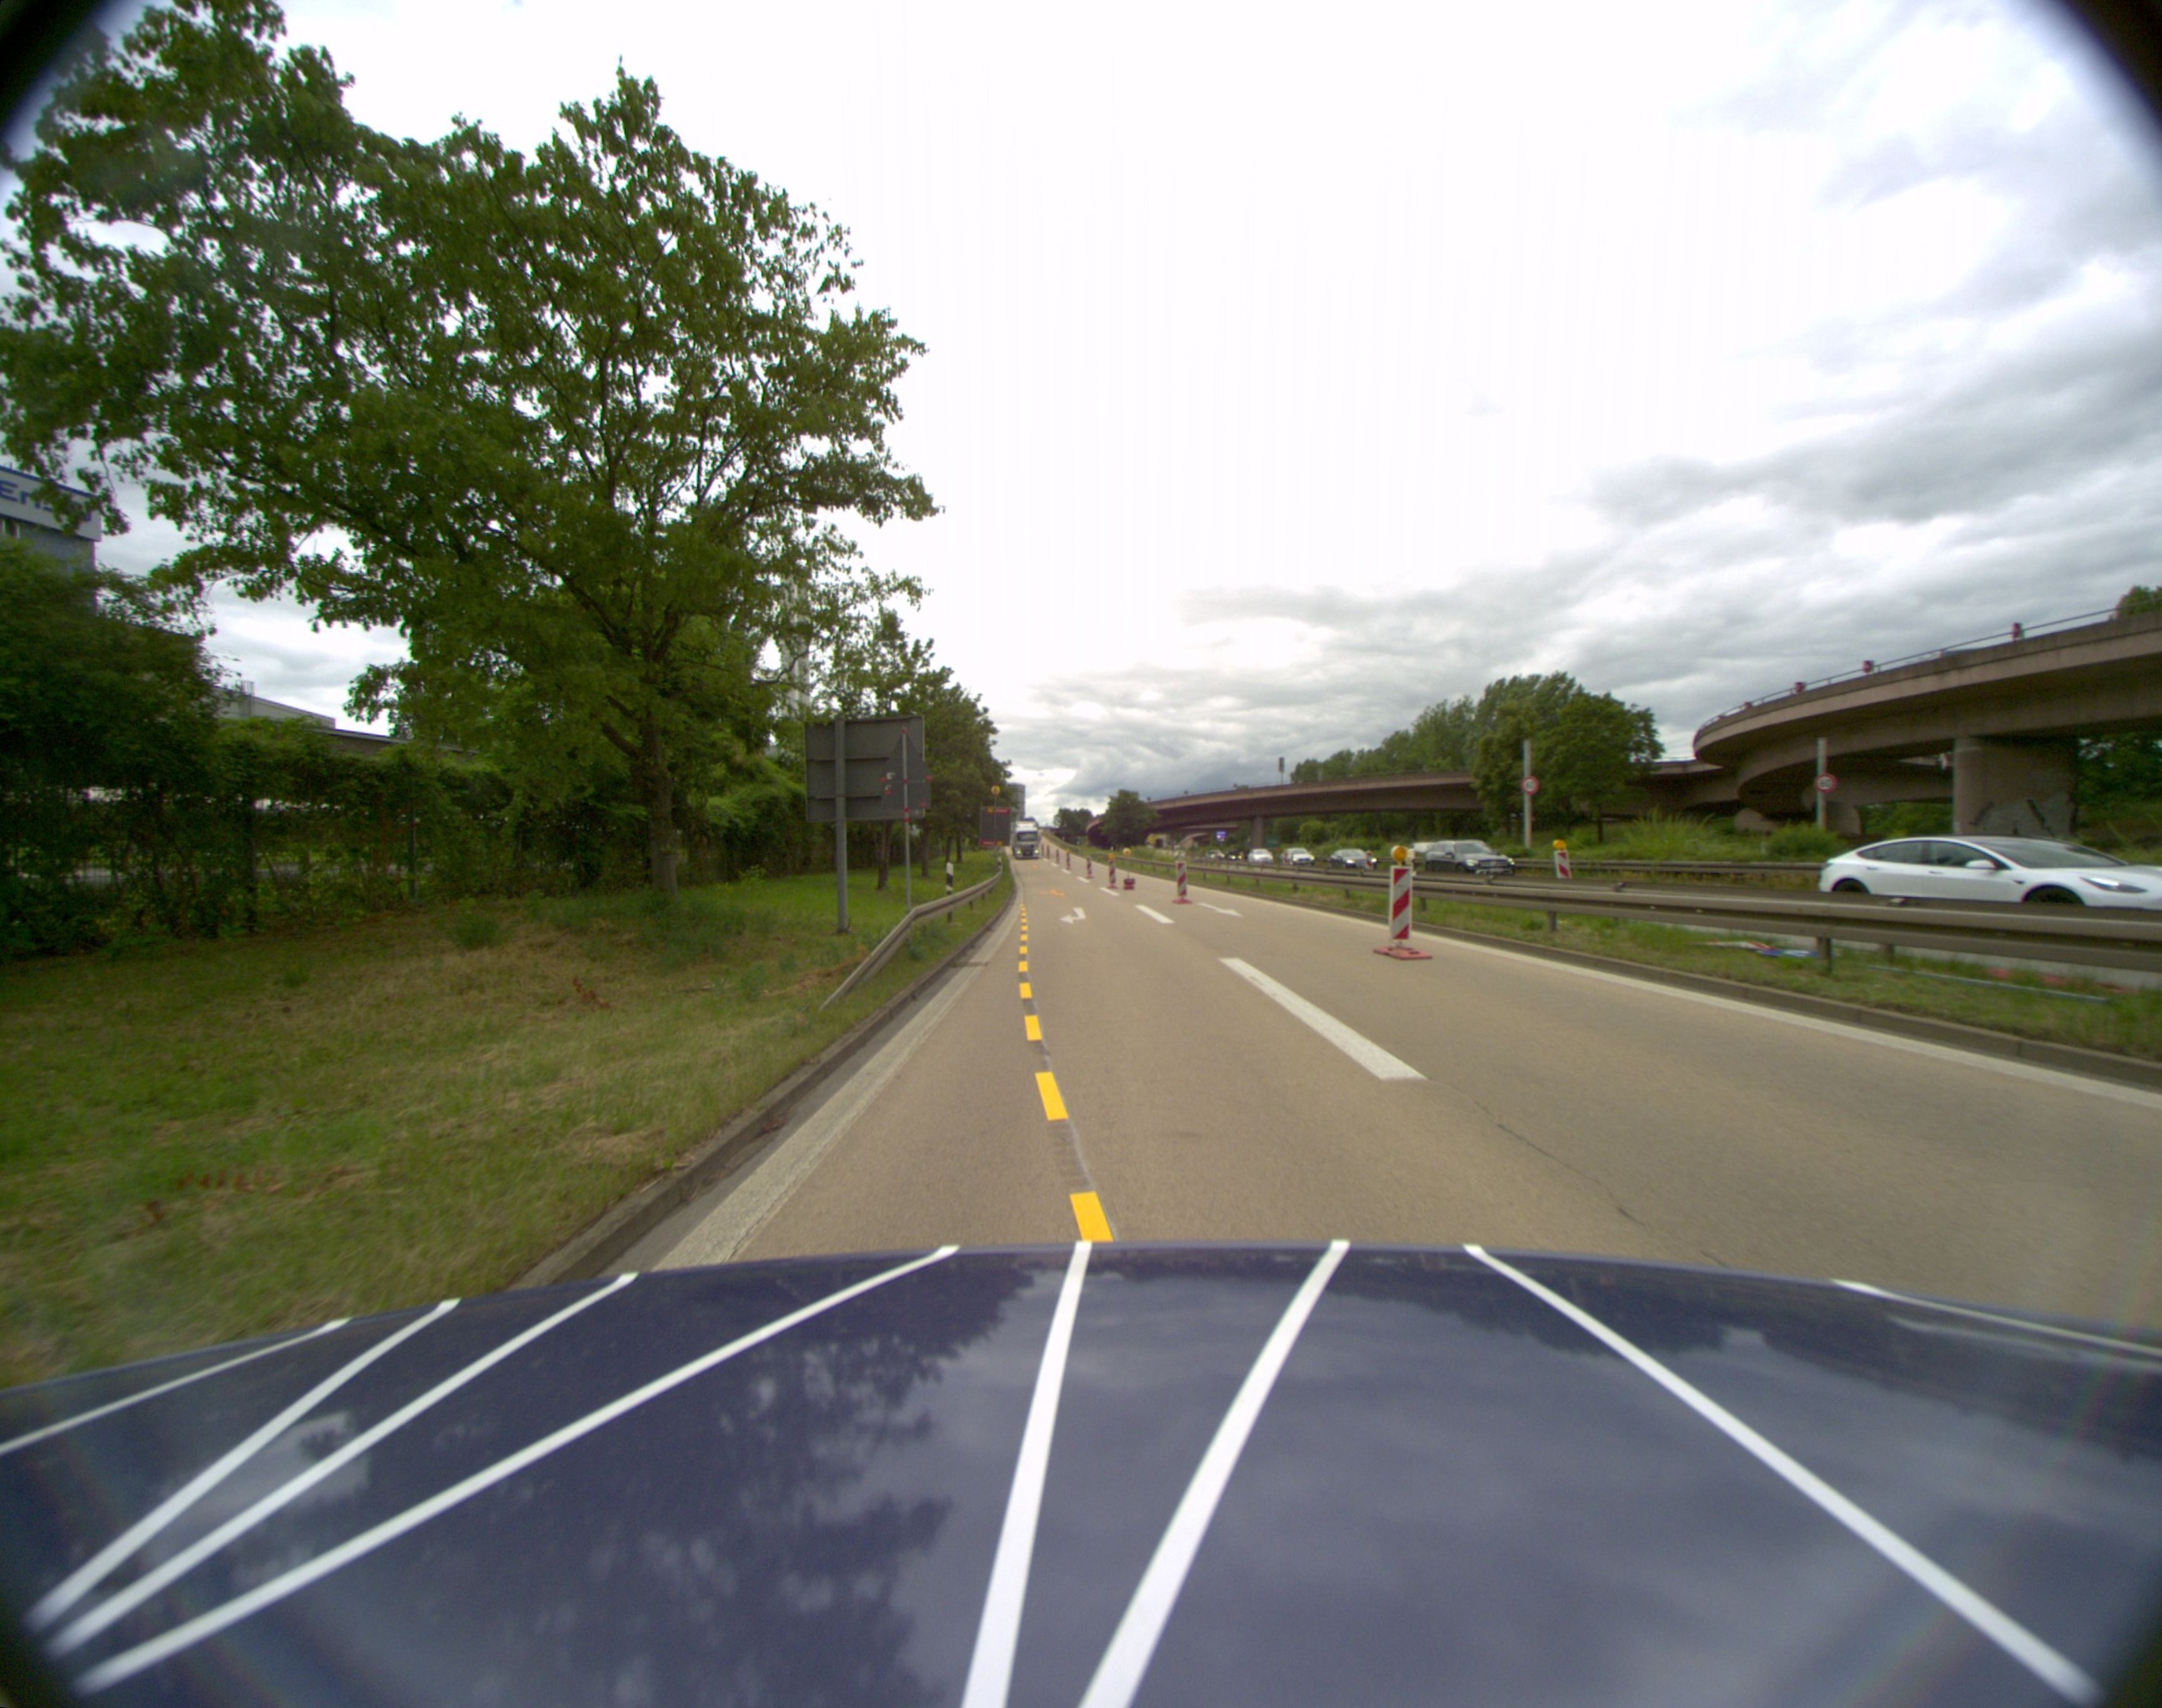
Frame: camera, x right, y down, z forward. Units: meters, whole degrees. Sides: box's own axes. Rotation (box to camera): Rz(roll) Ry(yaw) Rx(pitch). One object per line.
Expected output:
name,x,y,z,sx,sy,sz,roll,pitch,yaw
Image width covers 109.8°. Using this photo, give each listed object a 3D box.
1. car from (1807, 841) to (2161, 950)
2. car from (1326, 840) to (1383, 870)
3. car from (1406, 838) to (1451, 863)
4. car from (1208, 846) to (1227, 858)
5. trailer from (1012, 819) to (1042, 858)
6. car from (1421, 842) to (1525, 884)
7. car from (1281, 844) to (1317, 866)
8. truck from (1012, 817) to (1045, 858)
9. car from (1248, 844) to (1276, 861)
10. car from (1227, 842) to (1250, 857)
car,14.679,0.500,12.080,1.978,1.405,4.599,0,1,2
car,16.326,0.007,45.591,1.936,1.693,3.999,0,1,-2
car,28.045,-0.292,61.449,1.998,1.991,4.000,0,1,3
car,18.410,-0.307,102.648,1.998,1.585,4.292,0,1,3
trailer,-6.686,-1.759,92.308,3.165,4.299,13.257,-3,0,-5
car,15.357,0.307,30.042,1.980,1.502,4.292,-2,1,2
car,16.614,0.062,58.082,1.802,1.503,3.999,0,2,2
truck,-5.842,-1.771,83.790,3.163,4.107,8.136,-3,0,-5
car,17.790,-0.157,74.803,1.998,1.585,4.000,0,1,3
car,18.316,-0.544,88.463,1.998,1.585,4.292,0,1,3
